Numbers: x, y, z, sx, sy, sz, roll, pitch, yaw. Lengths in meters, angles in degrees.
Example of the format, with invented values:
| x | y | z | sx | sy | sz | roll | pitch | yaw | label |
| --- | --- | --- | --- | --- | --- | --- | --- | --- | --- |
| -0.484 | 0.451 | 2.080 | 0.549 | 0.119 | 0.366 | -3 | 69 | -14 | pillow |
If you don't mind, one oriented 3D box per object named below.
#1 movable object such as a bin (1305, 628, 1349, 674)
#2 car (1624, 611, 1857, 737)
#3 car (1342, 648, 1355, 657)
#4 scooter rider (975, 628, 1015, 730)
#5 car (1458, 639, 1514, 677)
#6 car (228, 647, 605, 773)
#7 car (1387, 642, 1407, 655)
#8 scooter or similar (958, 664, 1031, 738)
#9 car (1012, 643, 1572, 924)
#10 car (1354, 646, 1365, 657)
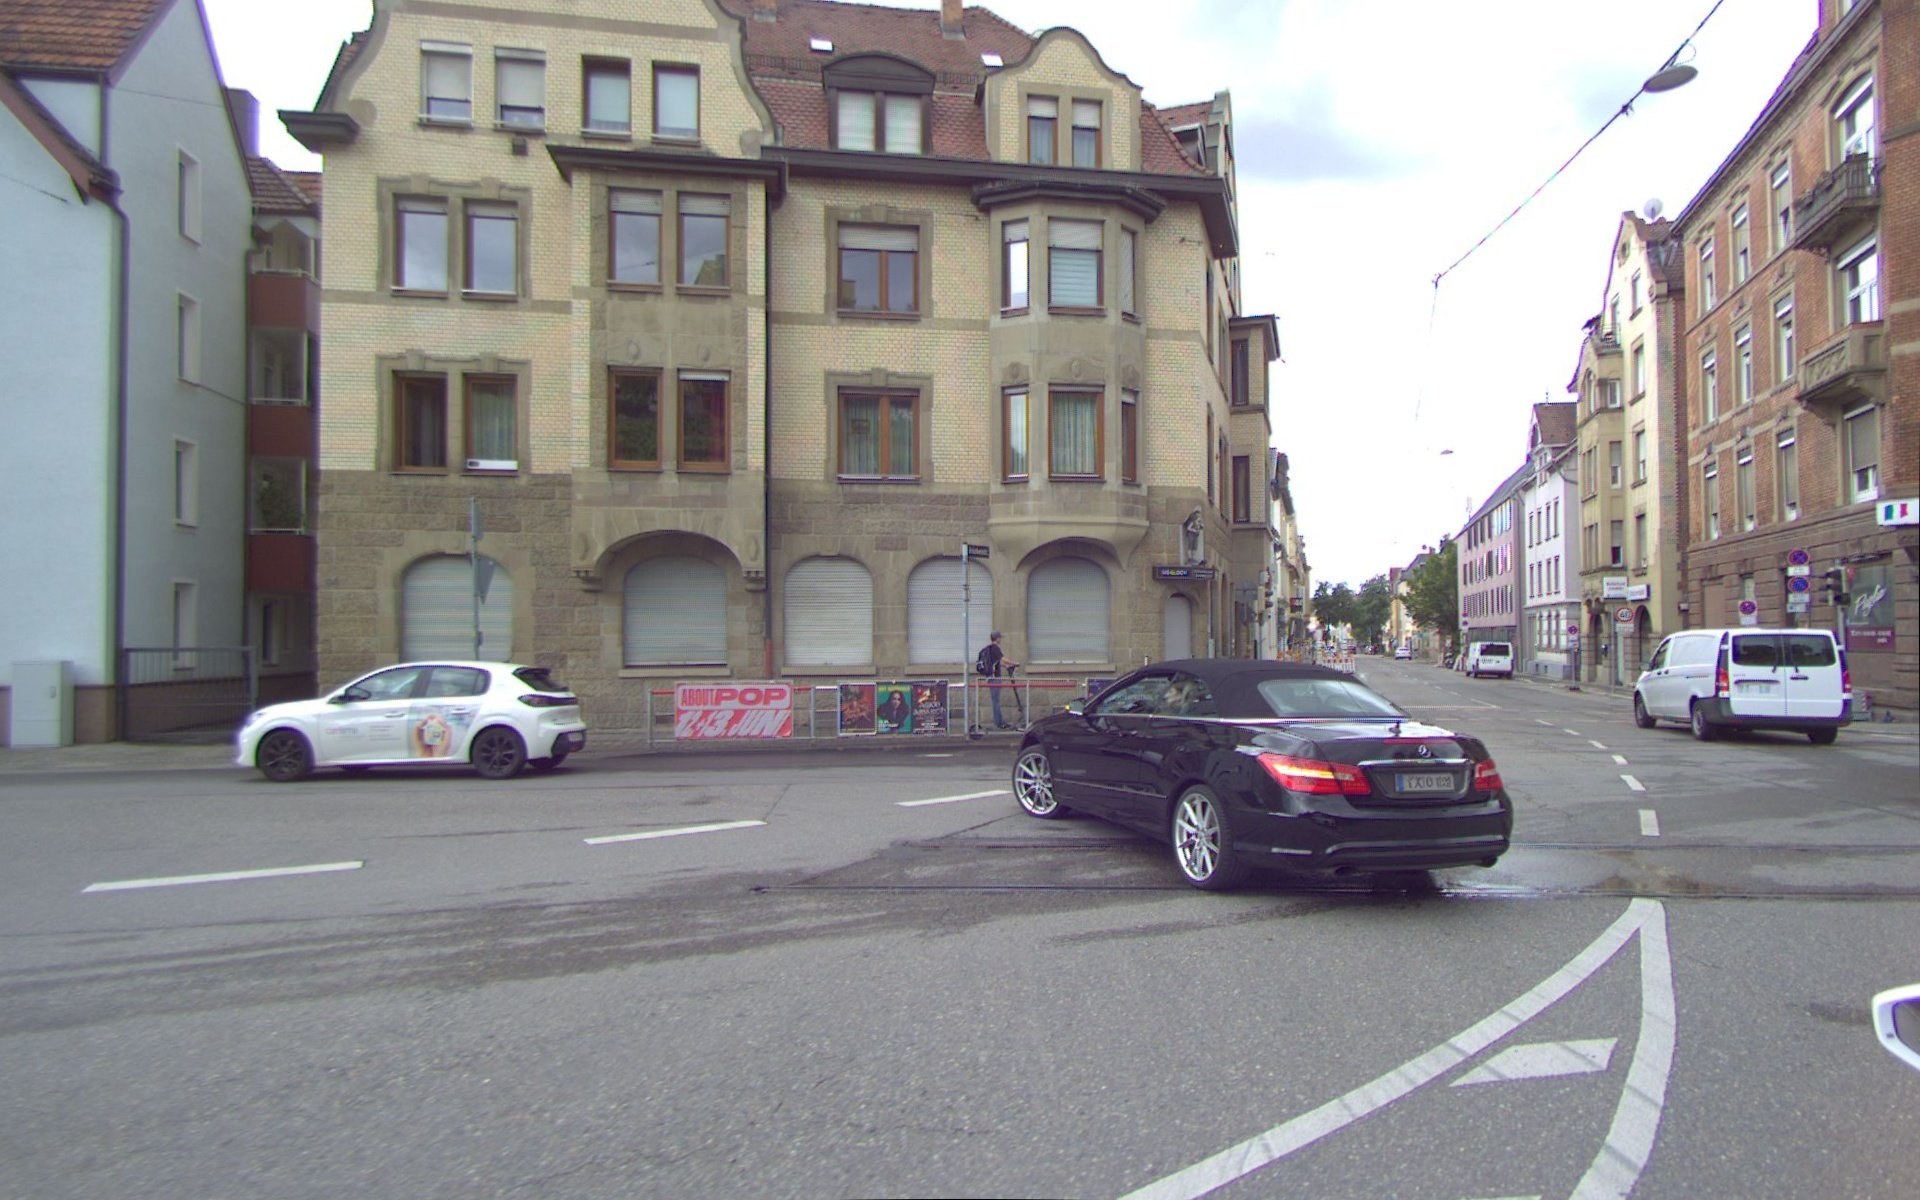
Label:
| x | y | z | sx | sy | sz | roll | pitch | yaw | label |
| --- | --- | --- | --- | --- | --- | --- | --- | --- | --- |
| 24.119 | 3.374 | 66.163 | 2.495 | 2.862 | 4.540 | -2 | -3 | 19 | movable object such as a bin |
| 13.732 | 1.337 | 18.058 | 1.860 | 1.953 | 4.647 | -2 | -5 | 20 | car |
| 72.937 | 9.900 | 188.425 | 1.962 | 1.638 | 3.999 | -2 | -5 | 24 | car |
| 0.612 | 1.360 | 17.424 | 0.568 | 1.727 | 0.488 | 1 | -3 | -15 | scooter rider |
| 30.327 | 3.344 | 58.074 | 2.093 | 2.031 | 4.928 | 1 | -2 | 19 | car |
| -6.776 | 1.372 | 12.869 | 3.843 | 1.485 | 1.687 | 0 | -4 | -3 | car |
| 54.200 | 5.996 | 124.583 | 1.960 | 1.505 | 4.001 | 3 | -2 | 19 | car |
| 0.603 | 1.738 | 17.406 | 1.206 | 1.258 | 0.378 | 1 | -2 | -16 | scooter or similar |
| 1.963 | 1.118 | 7.511 | 1.739 | 1.427 | 4.384 | 1 | -5 | -17 | car |
| 76.445 | 9.955 | 192.341 | 1.961 | 2.039 | 4.000 | -1 | -4 | 21 | car |
